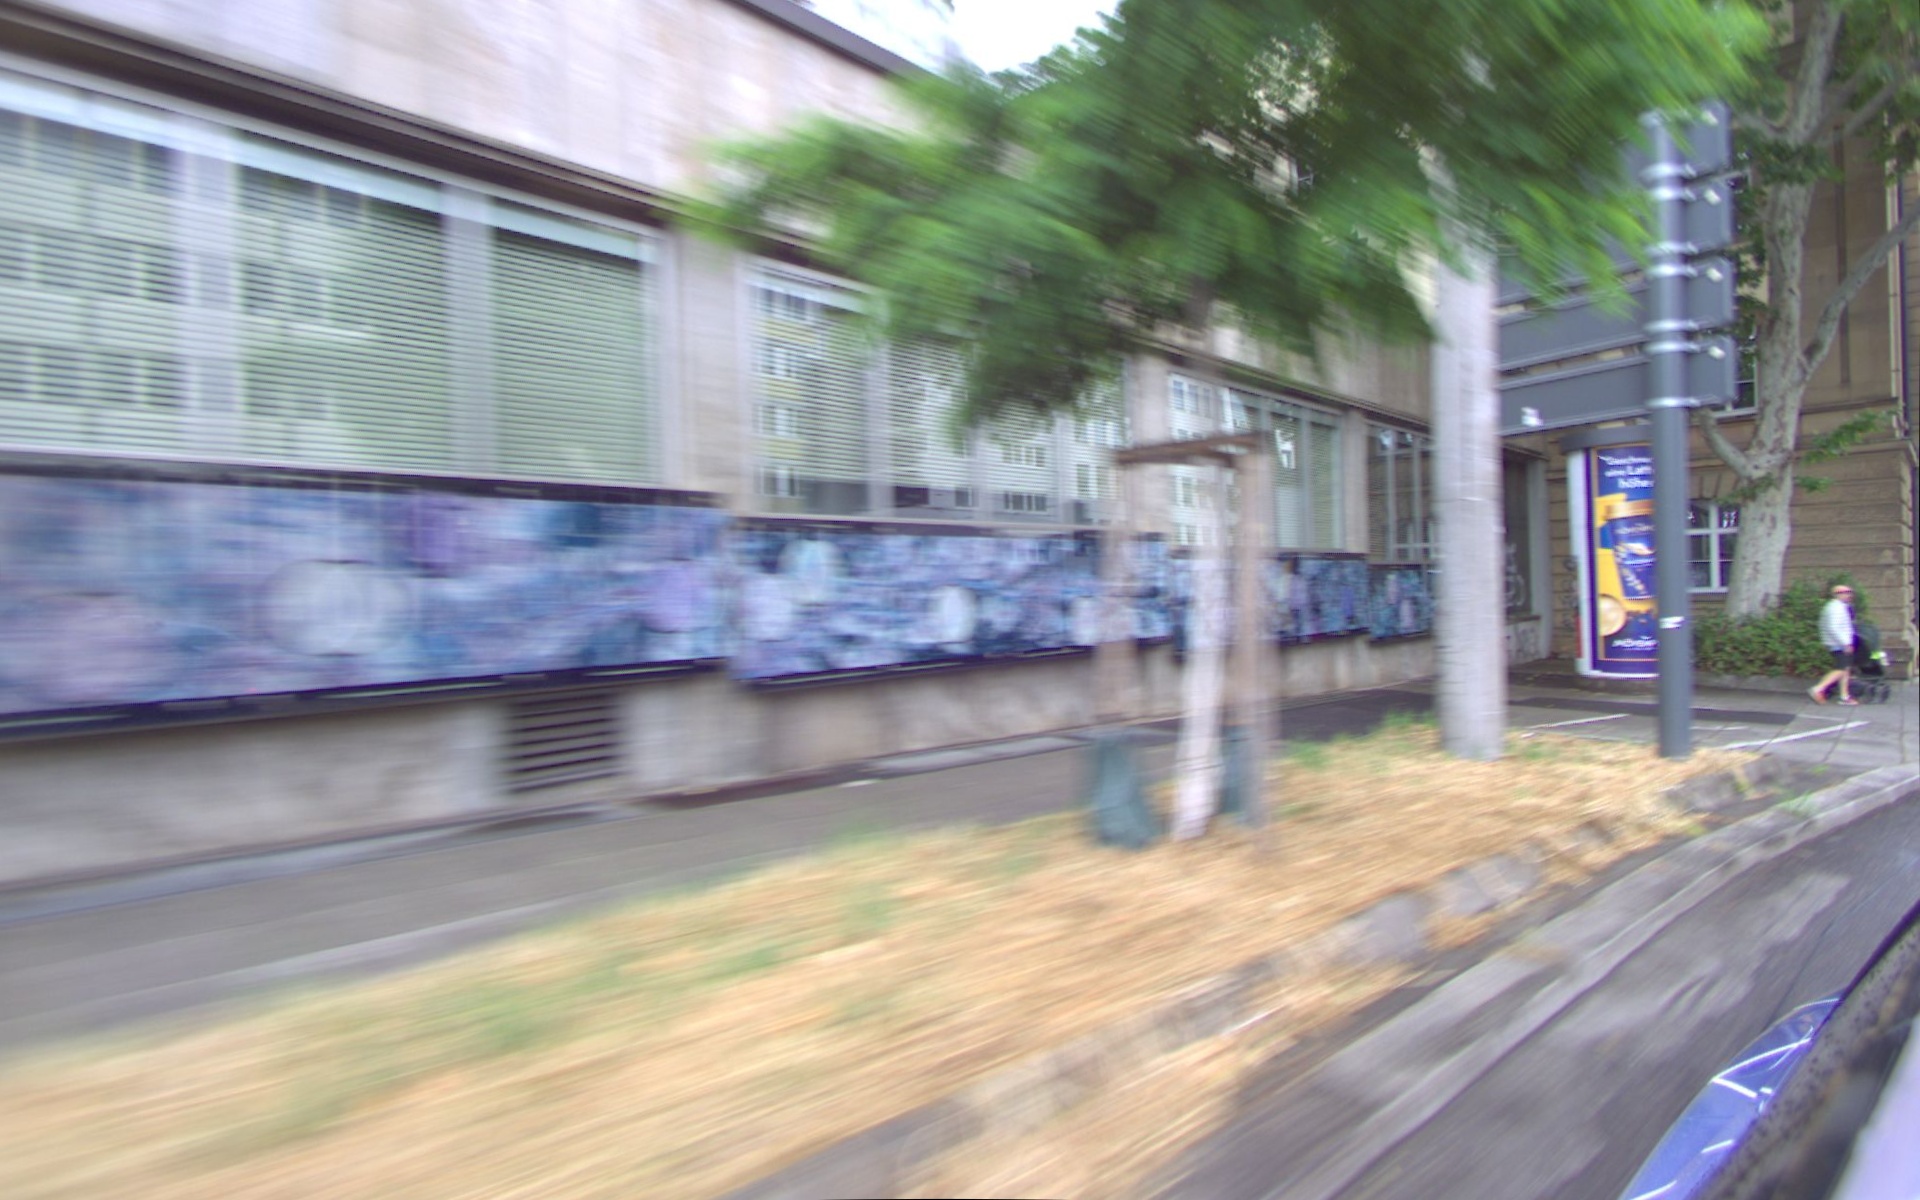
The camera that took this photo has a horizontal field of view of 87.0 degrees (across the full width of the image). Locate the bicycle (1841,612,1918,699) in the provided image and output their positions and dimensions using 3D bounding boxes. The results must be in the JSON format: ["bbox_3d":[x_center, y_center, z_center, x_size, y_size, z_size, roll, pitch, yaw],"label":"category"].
[{"bbox_3d":[13.832,0.814,15.223,0.892,1.236,0.621,0,0,-31],"label":"bicycle"}]

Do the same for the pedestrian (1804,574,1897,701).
[{"bbox_3d":[12.923,0.524,14.691,0.999,1.764,0.721,1,1,-32],"label":"pedestrian"}]
